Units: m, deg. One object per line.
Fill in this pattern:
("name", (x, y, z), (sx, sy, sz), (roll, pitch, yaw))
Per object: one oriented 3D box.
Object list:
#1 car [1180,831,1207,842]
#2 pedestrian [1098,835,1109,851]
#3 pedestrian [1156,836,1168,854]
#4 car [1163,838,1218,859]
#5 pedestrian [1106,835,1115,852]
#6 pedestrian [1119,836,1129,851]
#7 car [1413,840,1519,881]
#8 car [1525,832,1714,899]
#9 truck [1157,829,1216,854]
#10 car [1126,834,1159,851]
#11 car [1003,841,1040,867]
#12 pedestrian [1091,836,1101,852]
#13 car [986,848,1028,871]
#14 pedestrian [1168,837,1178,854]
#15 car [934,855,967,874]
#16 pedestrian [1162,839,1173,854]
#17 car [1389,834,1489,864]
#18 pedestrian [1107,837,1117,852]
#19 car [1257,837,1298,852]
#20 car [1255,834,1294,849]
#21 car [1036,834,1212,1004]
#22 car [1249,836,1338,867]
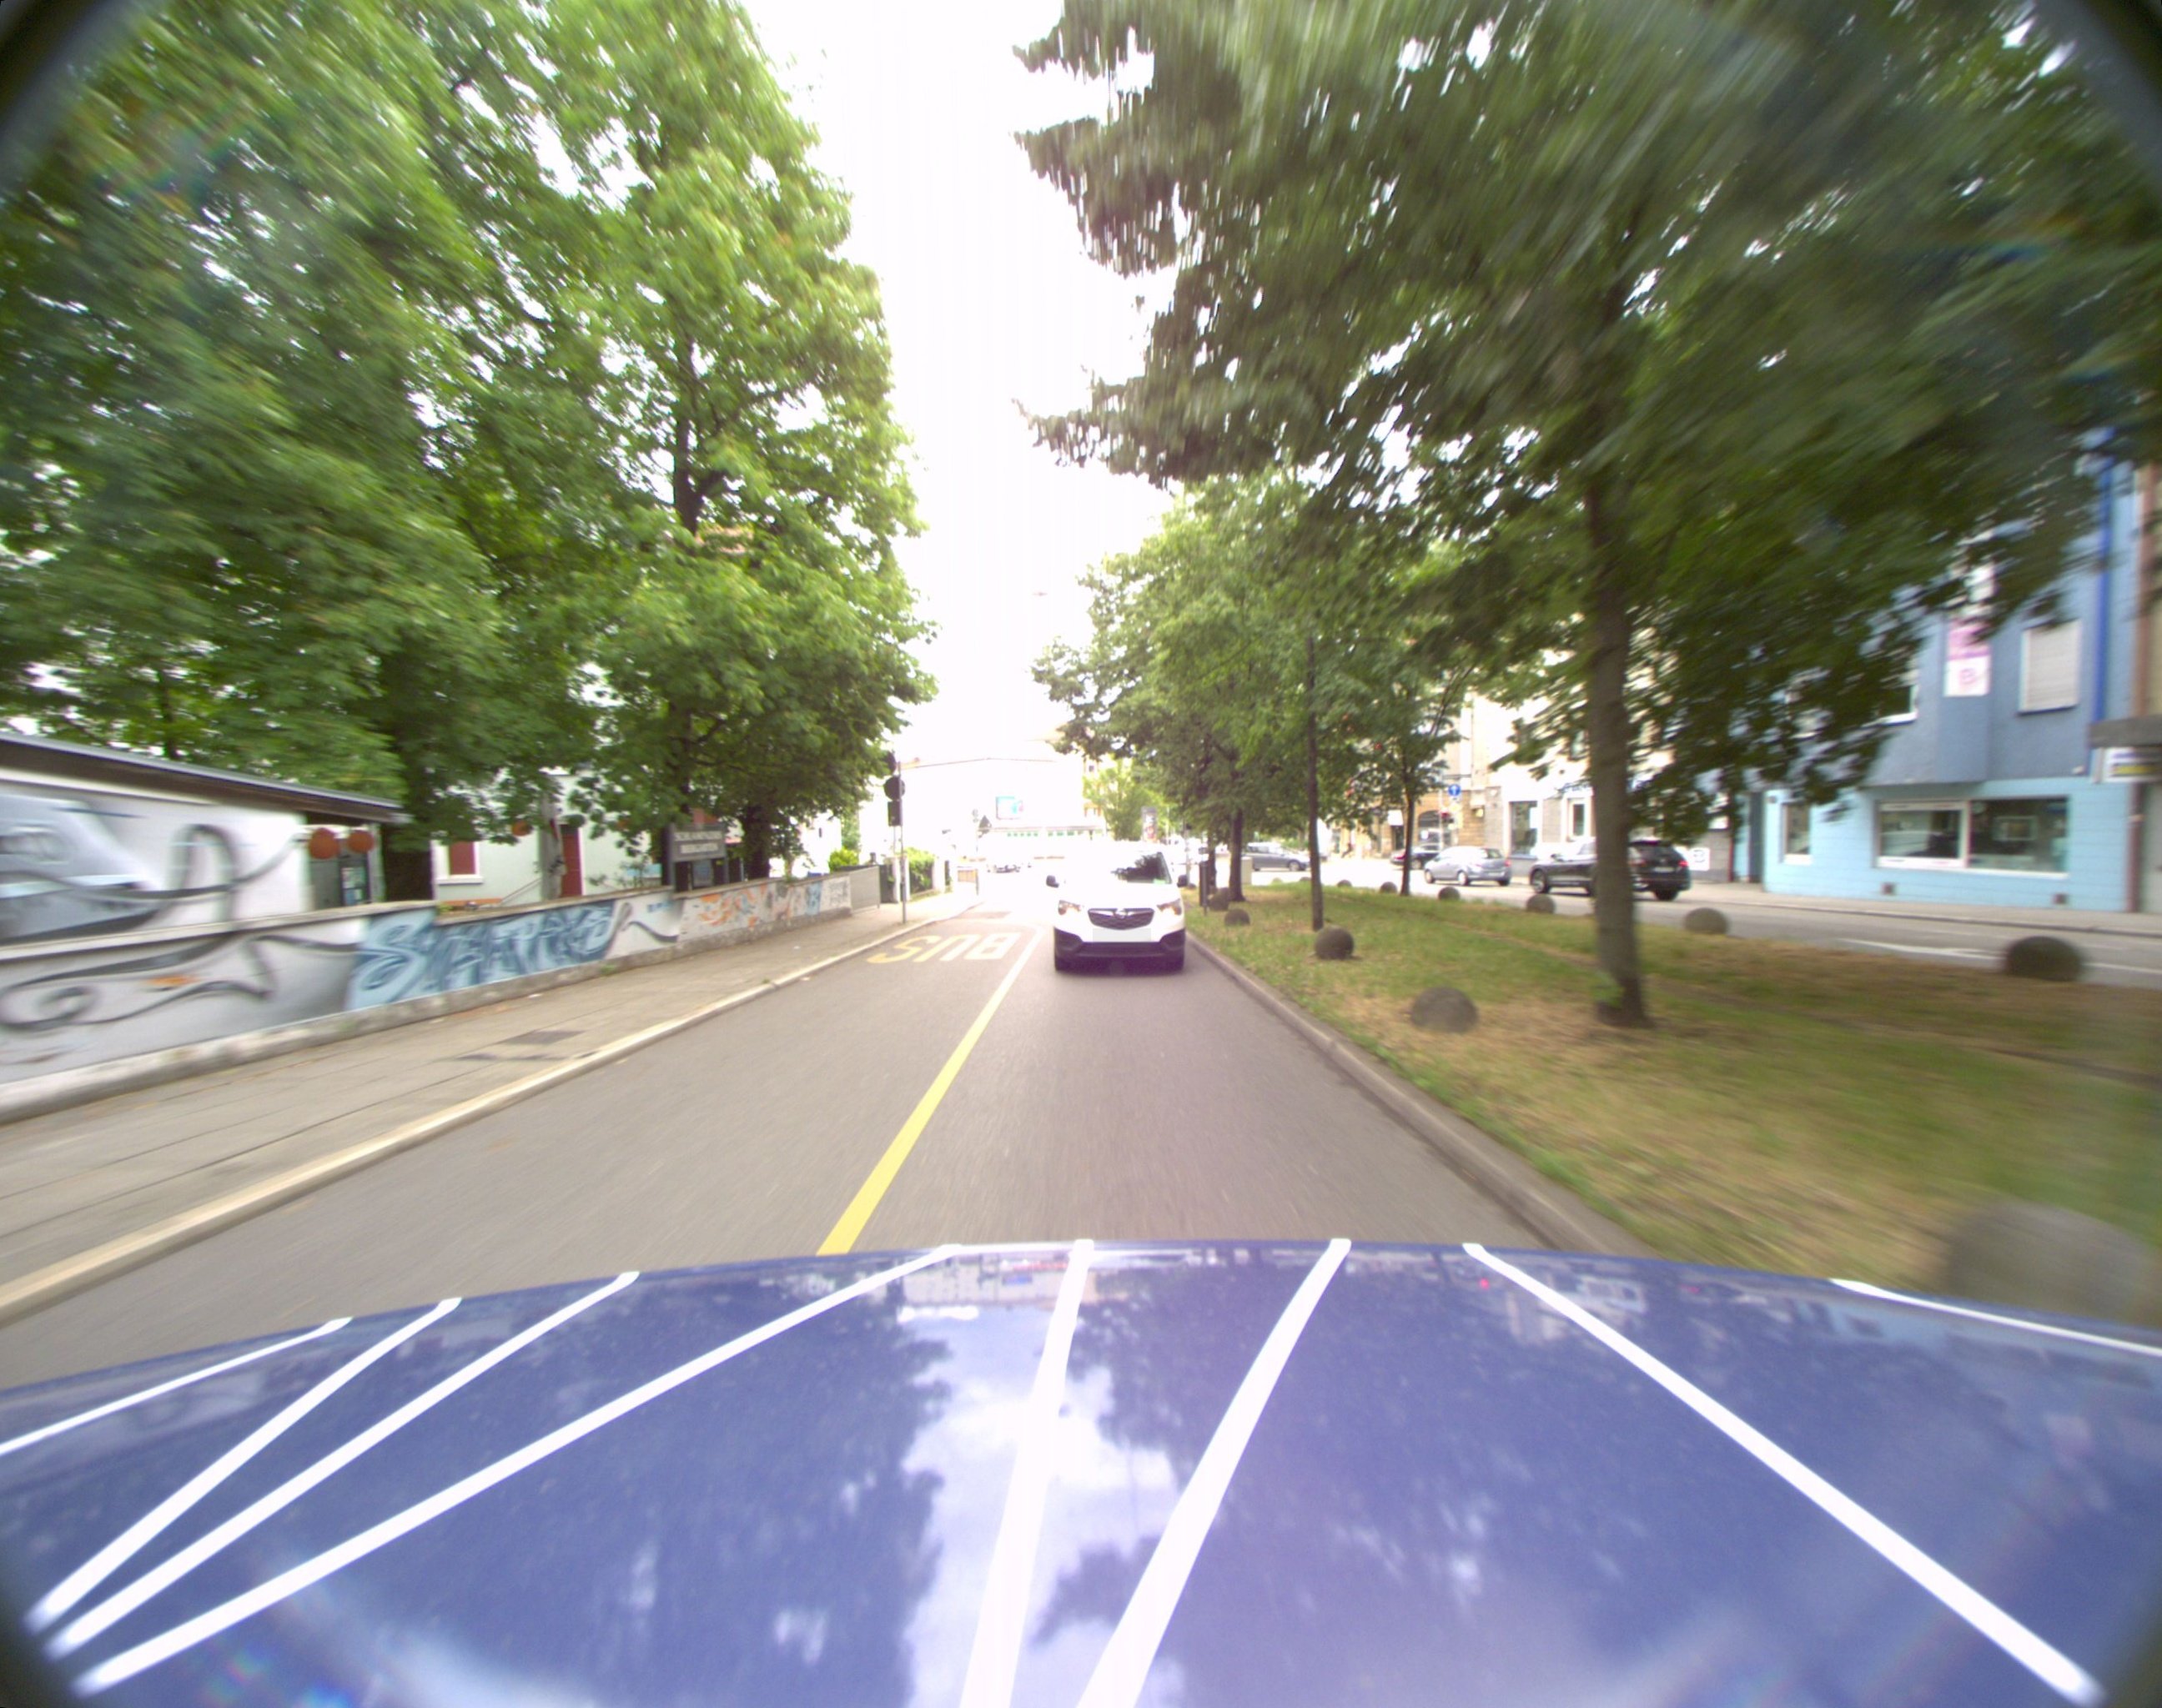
("car", (18.391, -2.867, 124.135), (3.937, 1.695, 1.889), (-4, 3, -23))
("pedestrian", (2.353, -1.121, 79.111), (0.773, 1.610, 0.648), (-5, 4, -37))
("pedestrian", (7.298, -0.777, 68.615), (0.707, 1.574, 0.801), (-5, 4, -34))
("car", (8.311, -0.410, 57.869), (1.799, 1.422, 3.951), (-5, 4, -40))
("pedestrian", (3.003, -1.054, 76.896), (0.607, 1.610, 0.553), (-5, 4, -35))
("pedestrian", (4.902, -1.177, 86.474), (0.867, 1.610, 0.919), (-2, 3, 13))
("car", (14.475, 0.213, 28.855), (1.673, 1.398, 4.293), (-1, 0, -2))
("car", (14.624, 0.225, 21.048), (1.820, 1.627, 4.677), (0, 2, -1))
("truck", (12.128, -1.463, 87.373), (6.467, 2.707, 2.765), (-2, 1, -34))
("car", (6.575, -1.219, 80.786), (2.207, 1.563, 4.482), (-2, 3, 23))
("car", (-5.145, -0.048, 65.465), (2.002, 2.003, 4.261), (-4, 3, -21))
("pedestrian", (1.536, -1.037, 78.146), (0.773, 1.610, 0.648), (-6, 4, -42))
("car", (-5.654, 0.432, 57.621), (2.041, 1.541, 4.028), (-3, 0, -21))
("pedestrian", (8.121, -0.742, 67.323), (0.606, 1.424, 0.600), (-5, 4, -33))
("car", (-11.948, 0.961, 69.460), (1.956, 1.541, 4.028), (-3, 0, -24))
("pedestrian", (7.717, -0.647, 67.946), (0.665, 1.334, 0.627), (-5, 4, -33))
("car", (19.710, -0.285, 42.017), (4.731, 1.412, 1.843), (-2, 3, 13))
("pedestrian", (3.491, -1.023, 84.567), (0.867, 1.610, 0.919), (-2, 3, 13))
("car", (21.844, -1.034, 84.493), (1.896, 1.590, 3.922), (-6, 4, -45))
("car", (22.545, -1.421, 88.531), (1.896, 1.590, 3.922), (-6, 4, -45))
("car", (0.570, 0.683, 10.713), (1.857, 1.799, 4.729), (-2, 1, 2))
("car", (12.436, -0.145, 44.535), (4.716, 1.605, 1.862), (-1, 3, 30))
